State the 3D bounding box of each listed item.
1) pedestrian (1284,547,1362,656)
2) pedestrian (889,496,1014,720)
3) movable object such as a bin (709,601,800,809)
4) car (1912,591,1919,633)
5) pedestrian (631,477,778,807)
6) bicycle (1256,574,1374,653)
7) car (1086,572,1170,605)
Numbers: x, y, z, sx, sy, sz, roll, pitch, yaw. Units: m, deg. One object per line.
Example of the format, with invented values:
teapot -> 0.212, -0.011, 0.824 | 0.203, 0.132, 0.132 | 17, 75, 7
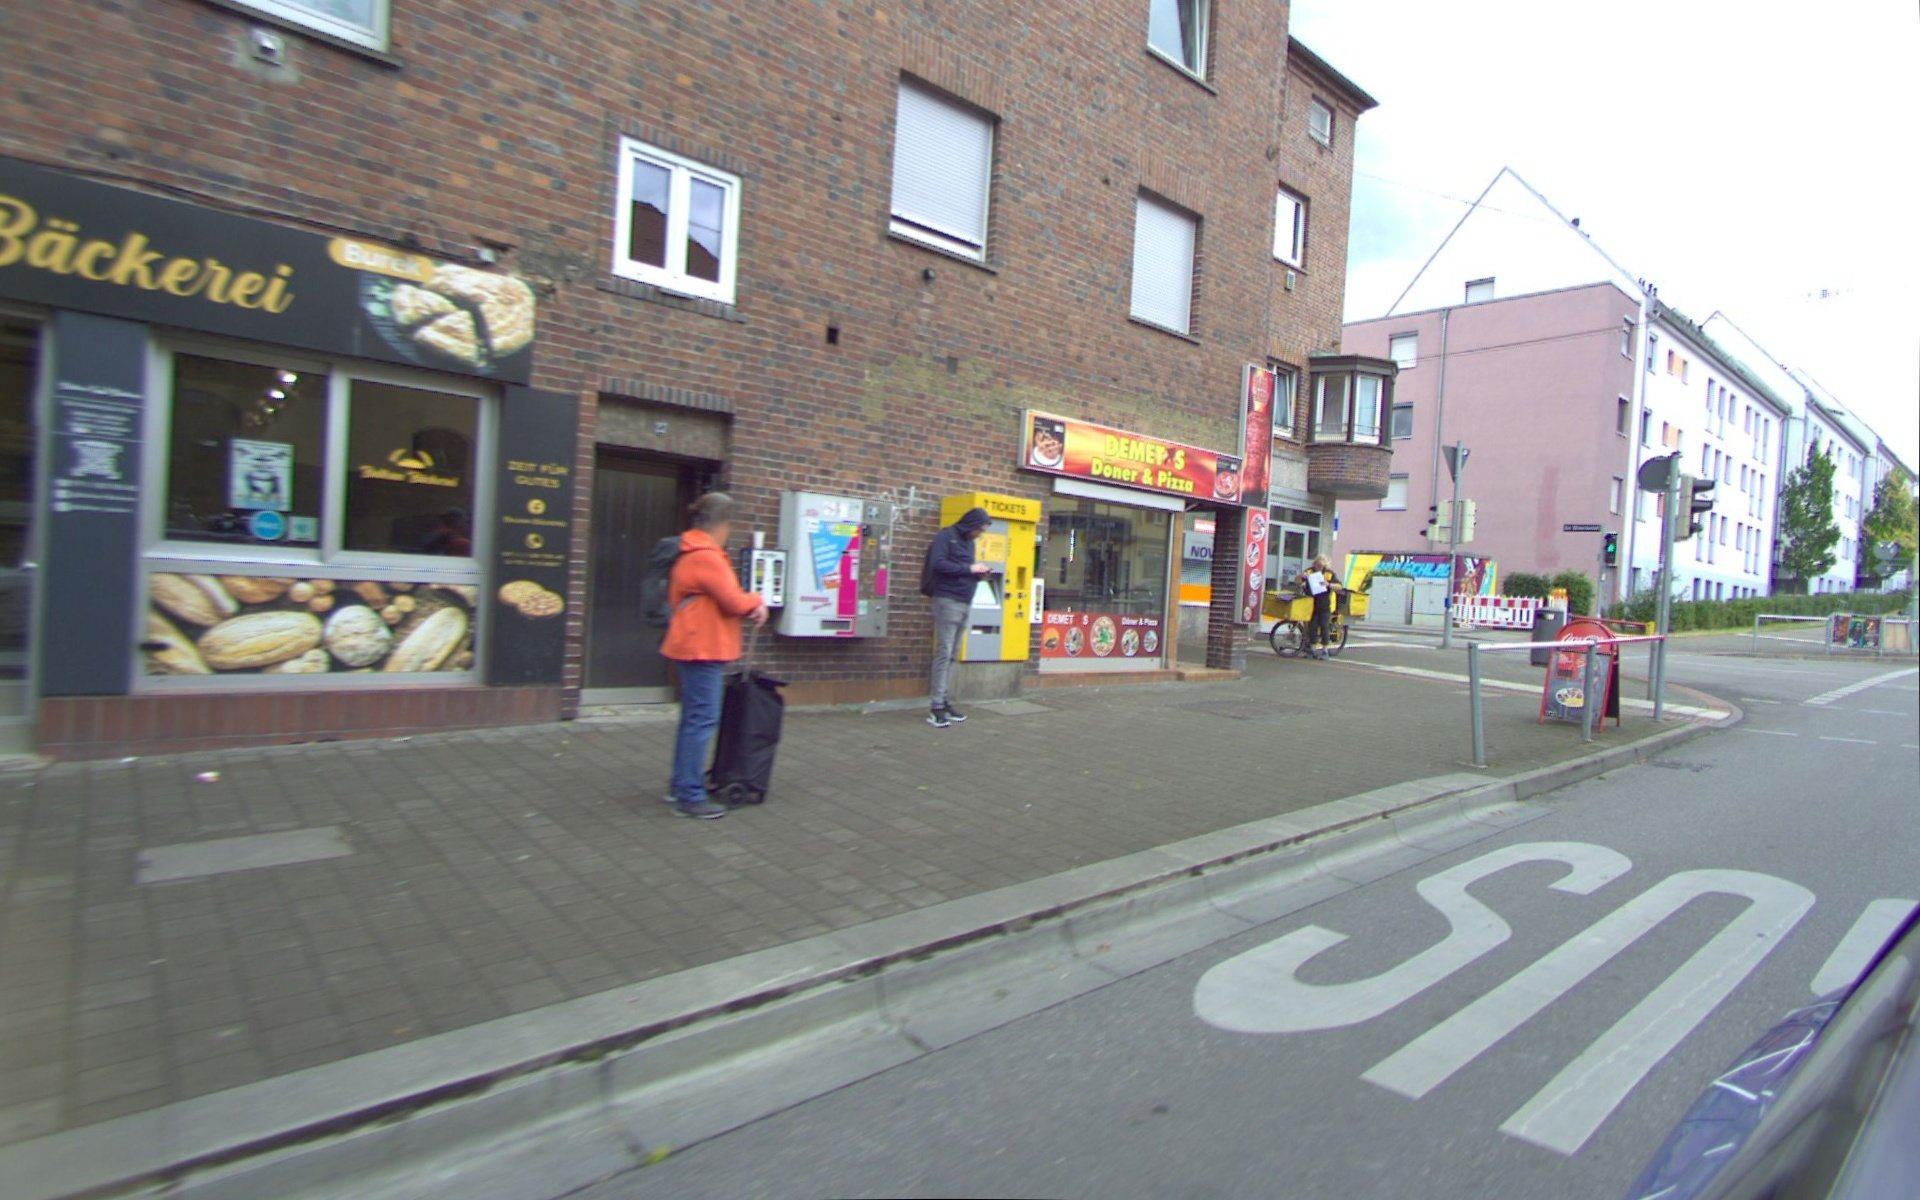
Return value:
pedestrian -> 5.860, 0.012, 16.360 | 0.758, 1.675, 0.790 | 0, 5, -40
pedestrian -> -0.073, 0.050, 8.466 | 0.763, 1.771, 0.649 | 1, 2, -36
movable object such as a bin -> -1.141, 0.552, 5.580 | 0.402, 1.069, 0.455 | 1, 2, -21
car -> 40.133, 0.476, 41.151 | 4.495, 1.608, 1.737 | -1, 2, -43
pedestrian -> -1.388, 0.208, 5.451 | 0.666, 1.657, 0.568 | 1, 2, -21
bicycle -> 5.922, 0.207, 16.802 | 2.350, 1.208, 0.761 | 0, 3, -41
car -> 8.300, -0.561, 49.928 | 3.821, 1.372, 1.753 | 2, 2, -33
